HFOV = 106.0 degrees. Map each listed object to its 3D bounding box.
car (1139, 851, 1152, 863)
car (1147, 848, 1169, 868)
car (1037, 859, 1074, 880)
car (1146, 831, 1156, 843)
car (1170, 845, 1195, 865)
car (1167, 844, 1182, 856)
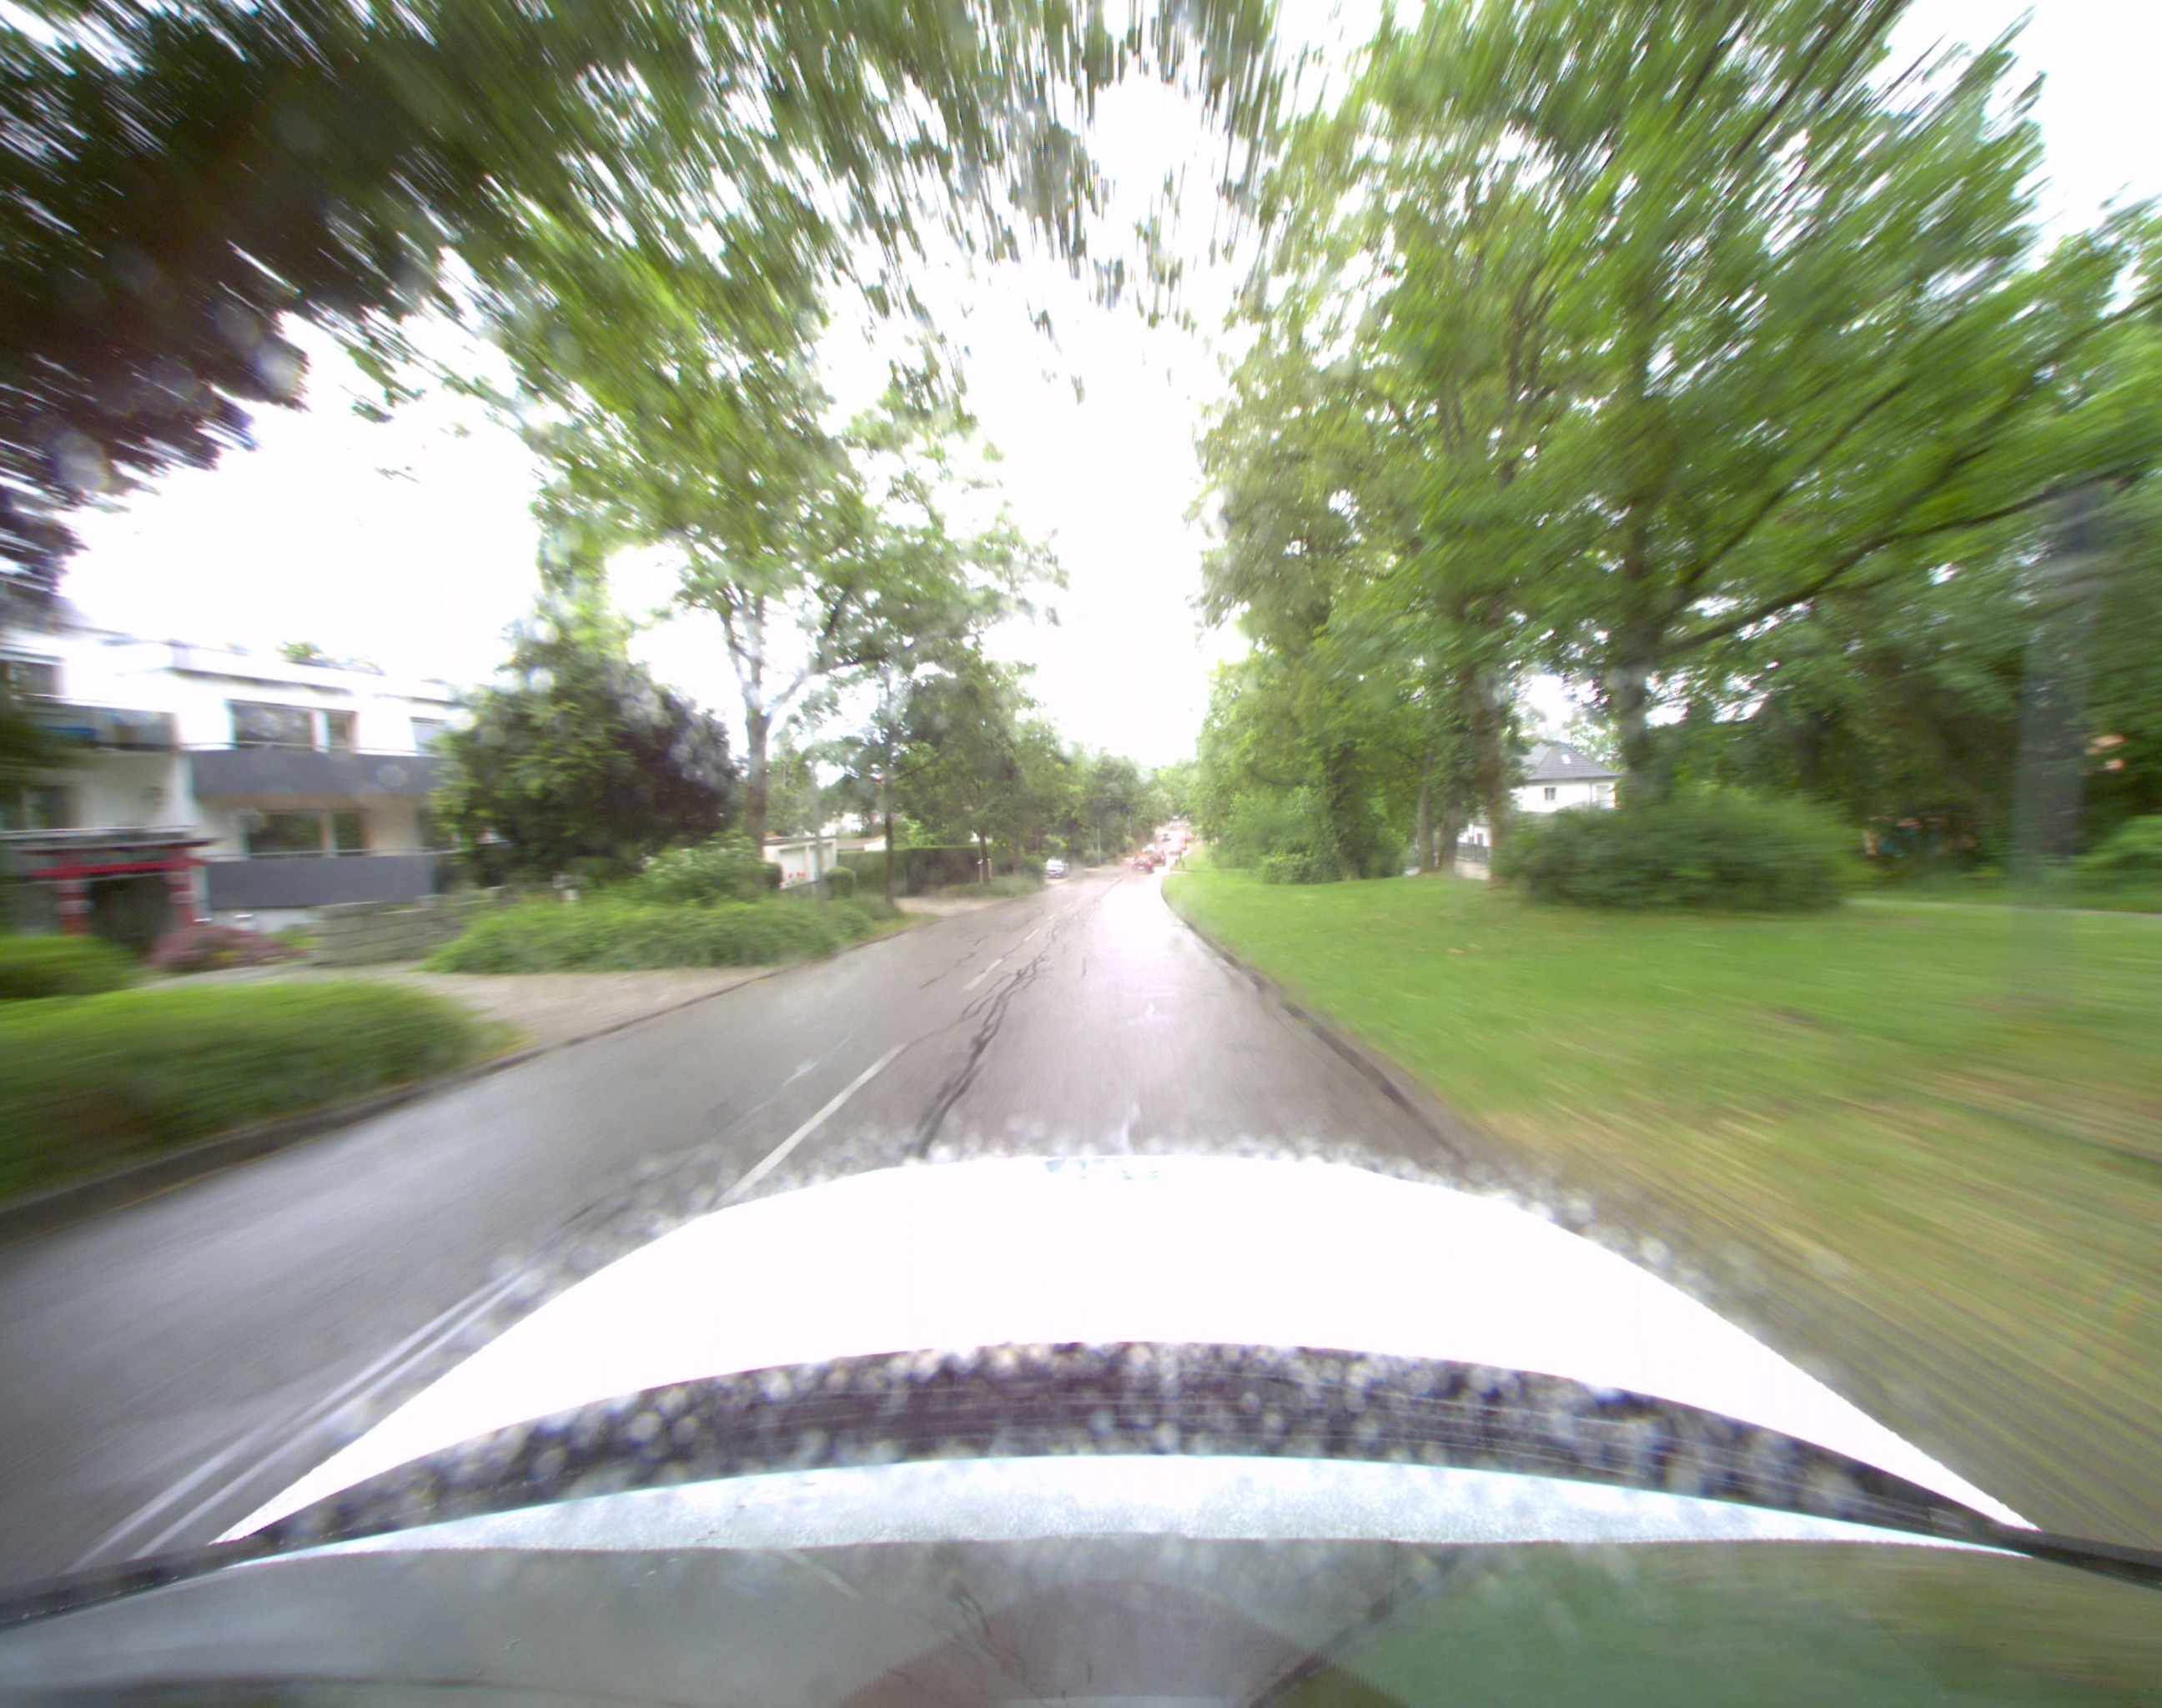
[{"bbox_3d":[10.020,0.456,126.444,1.983,1.655,4.007,-2,0,6],"label":"car"},{"bbox_3d":[8.180,0.421,86.926,1.987,2.013,4.000,-2,0,0],"label":"car"},{"bbox_3d":[-2.006,1.205,65.047,1.980,1.598,4.024,-2,0,13],"label":"car"},{"bbox_3d":[13.948,-3.466,162.549,1.985,2.012,4.006,-2,5,3],"label":"car"},{"bbox_3d":[10.287,0.109,82.781,1.987,2.013,4.000,-2,0,1],"label":"car"},{"bbox_3d":[13.721,-0.630,119.721,1.850,1.691,4.000,-2,0,0],"label":"car"}]
